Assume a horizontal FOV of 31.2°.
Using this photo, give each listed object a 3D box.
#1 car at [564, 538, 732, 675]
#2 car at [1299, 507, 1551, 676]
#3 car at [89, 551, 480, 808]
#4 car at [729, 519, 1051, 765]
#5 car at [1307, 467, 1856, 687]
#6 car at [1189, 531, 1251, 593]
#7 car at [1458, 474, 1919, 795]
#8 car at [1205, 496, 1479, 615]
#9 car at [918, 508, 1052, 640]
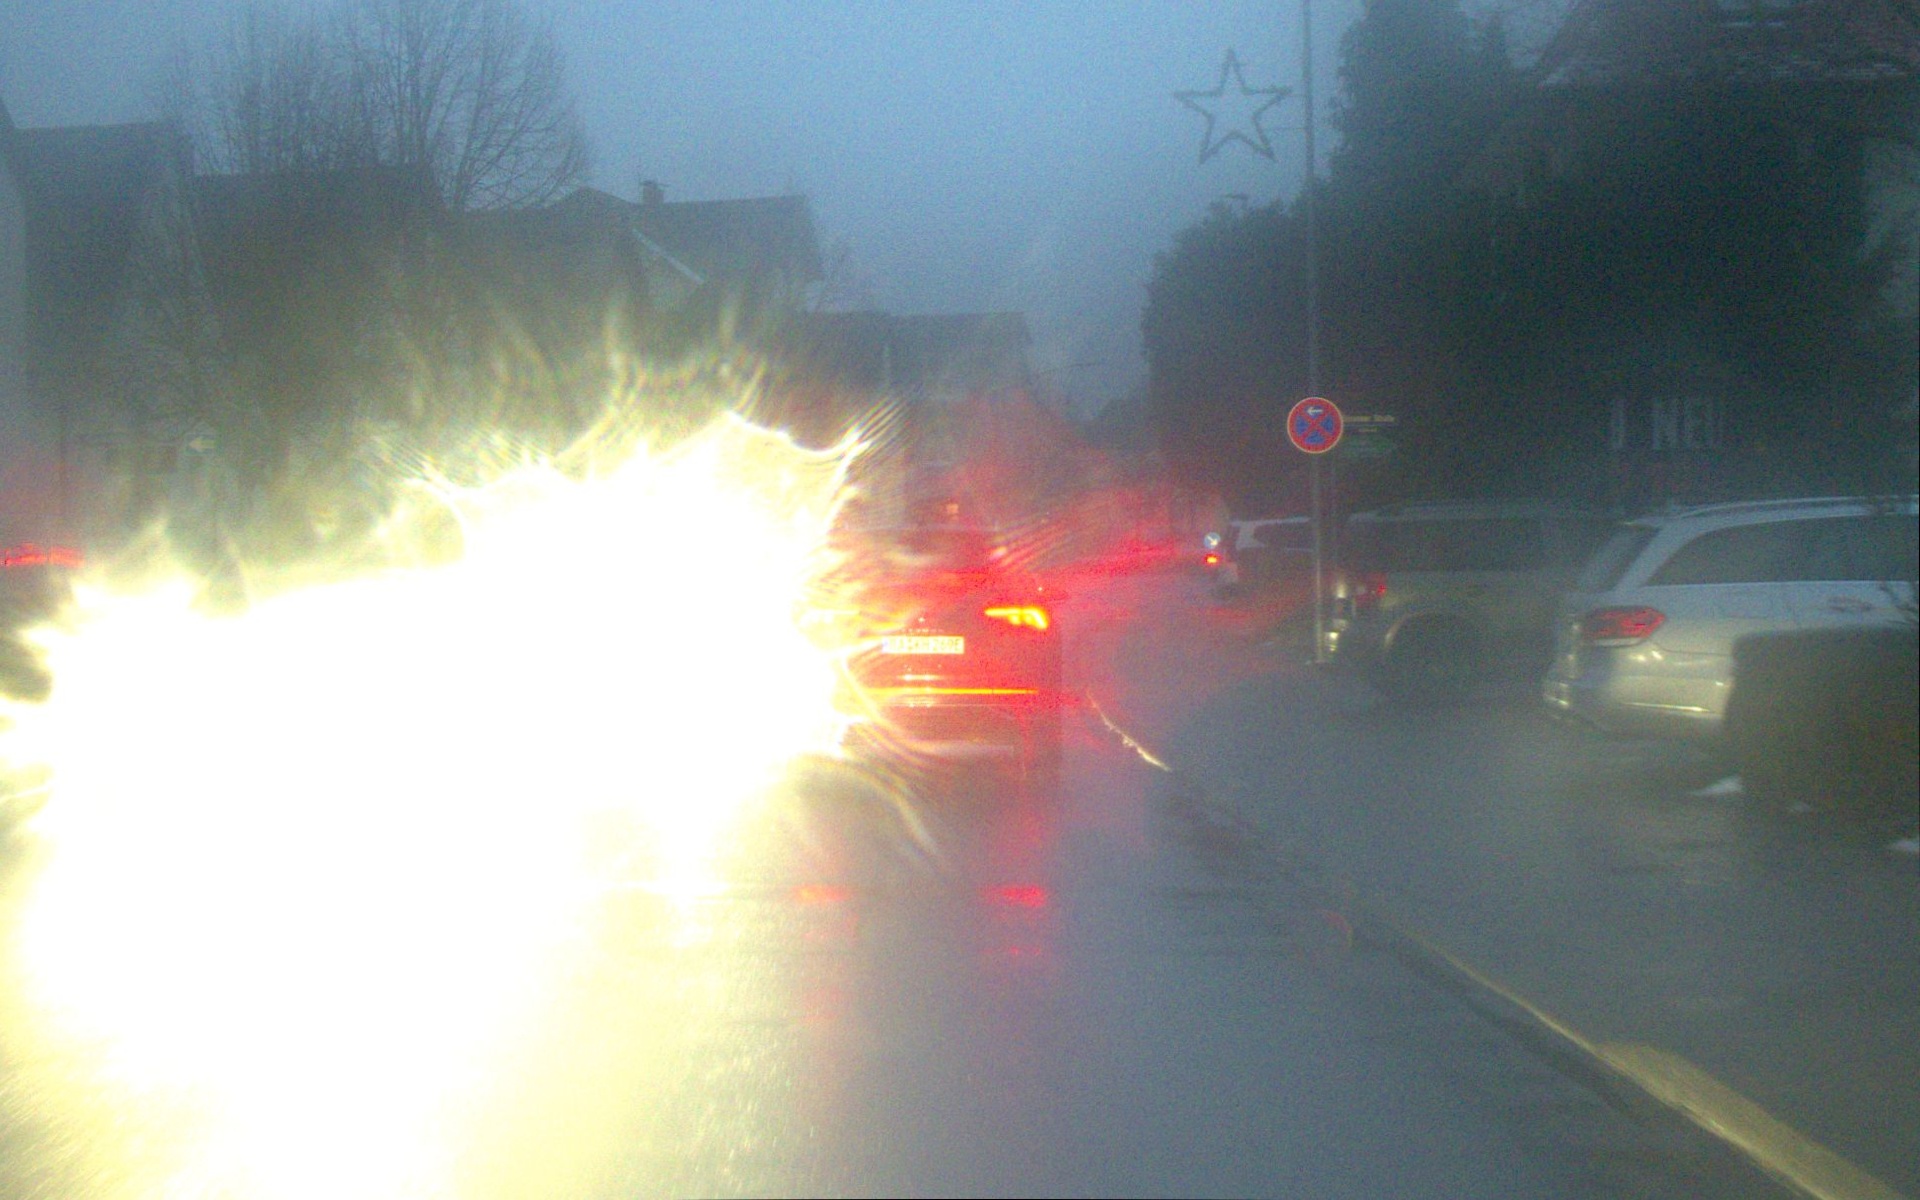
[{"bbox_3d":[-4.052,0.046,45.173,1.814,1.627,4.225,-2,1,-1],"label":"car"},{"bbox_3d":[4.586,-0.130,34.542,1.893,1.549,4.756,-1,1,0],"label":"car"},{"bbox_3d":[-4.302,0.439,22.528,1.704,1.436,4.425,-3,1,-1],"label":"car"},{"bbox_3d":[-0.480,0.220,23.355,1.993,1.520,4.000,0,1,-1],"label":"car"},{"bbox_3d":[5.006,-0.186,28.140,4.101,1.700,2.000,0,0,-1],"label":"car"},{"bbox_3d":[8.815,-1.315,116.673,1.994,2.007,4.000,-1,1,4],"label":"car"},{"bbox_3d":[5.214,0.125,18.996,4.734,1.624,1.907,-2,1,5],"label":"car"},{"bbox_3d":[6.397,-0.764,57.961,4.322,1.726,2.000,-3,1,1],"label":"car"},{"bbox_3d":[0.434,-0.419,54.333,1.993,2.007,4.000,0,1,2],"label":"car"}]
